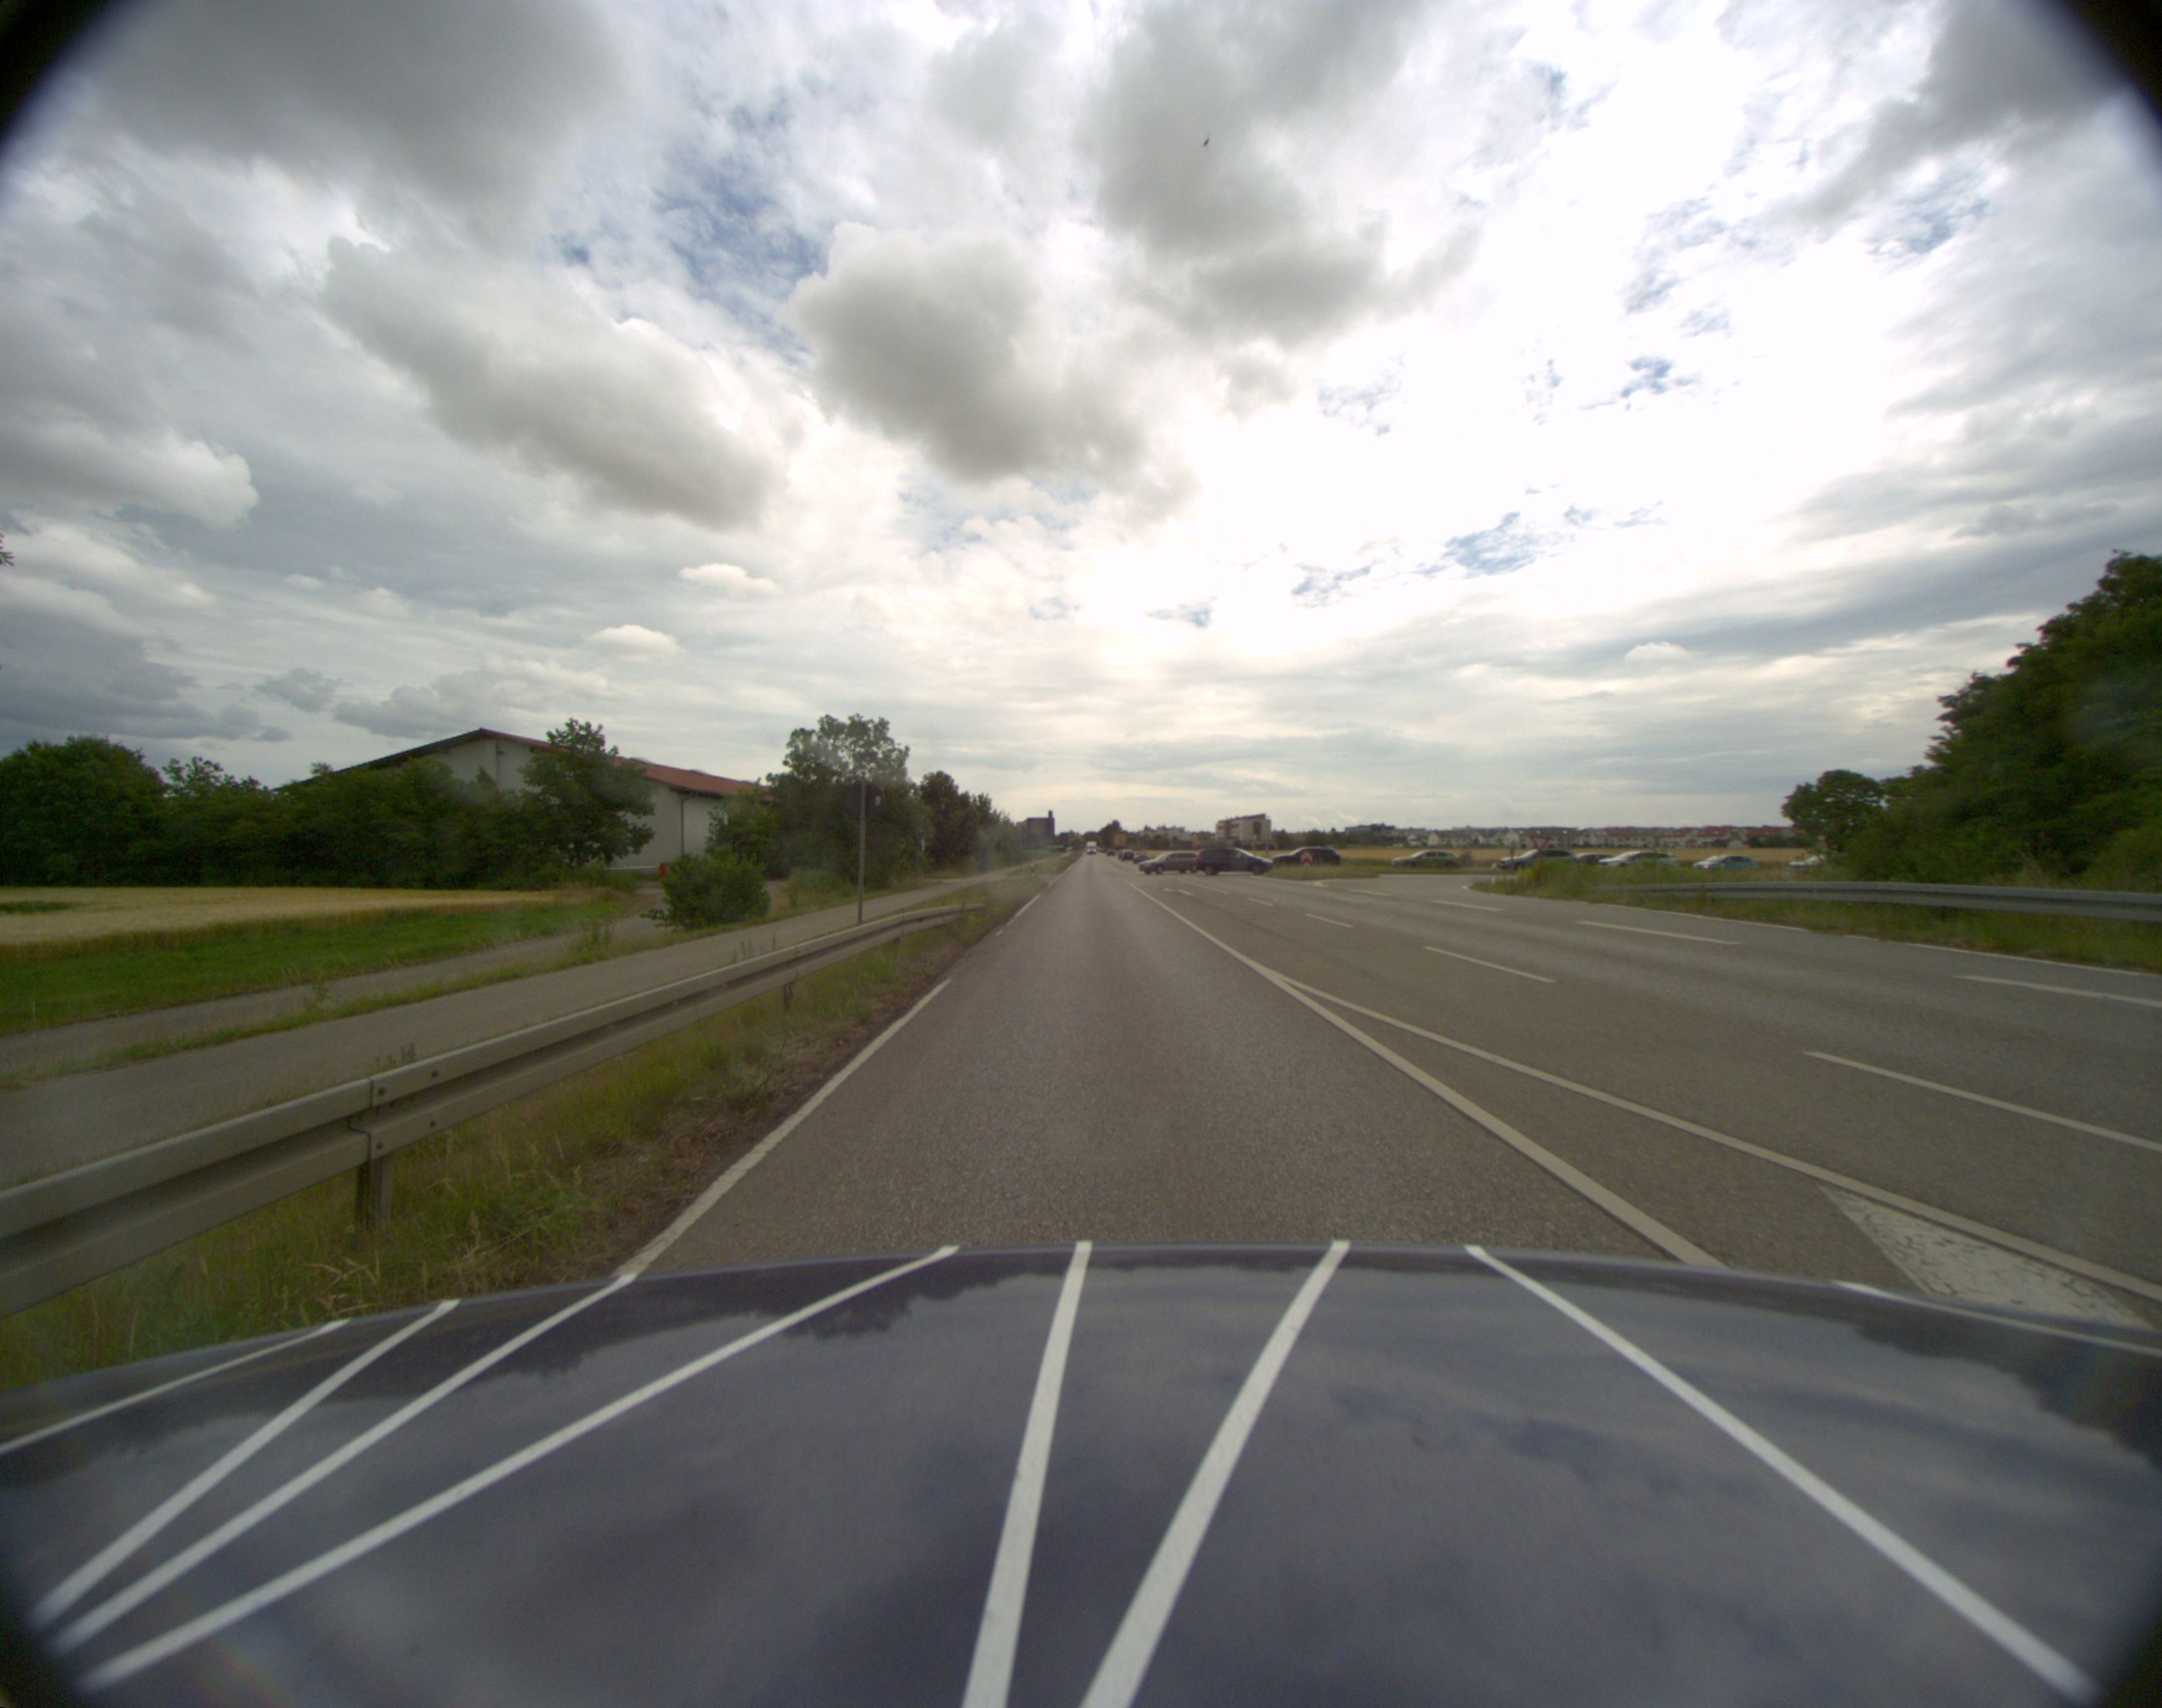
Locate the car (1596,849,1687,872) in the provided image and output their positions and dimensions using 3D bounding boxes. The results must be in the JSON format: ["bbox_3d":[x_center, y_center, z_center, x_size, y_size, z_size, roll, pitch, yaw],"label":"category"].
[{"bbox_3d":[37.162,0.411,50.487,4.500,1.474,1.912,0,1,7],"label":"car"}]

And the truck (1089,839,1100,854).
[{"bbox_3d":[3.440,-1.951,194.544,2.813,3.588,11.218,0,1,1],"label":"truck"}]

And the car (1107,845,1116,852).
[{"bbox_3d":[6.720,-1.251,167.232,1.683,1.512,4.395,-2,1,1],"label":"car"}]

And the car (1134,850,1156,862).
[{"bbox_3d":[7.488,0.228,89.249,2.170,1.277,4.236,-2,1,0],"label":"car"}]

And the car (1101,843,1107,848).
[{"bbox_3d":[7.181,-2.753,235.857,1.740,1.450,4.130,-1,1,-1],"label":"car"}]

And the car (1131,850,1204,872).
[{"bbox_3d":[5.777,0.448,50.773,4.468,1.416,1.908,-1,1,-17],"label":"car"}]

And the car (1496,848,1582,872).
[{"bbox_3d":[30.936,0.394,51.461,4.633,1.508,1.912,0,1,7],"label":"car"}]

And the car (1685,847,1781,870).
[{"bbox_3d":[42.999,0.298,50.174,4.500,1.474,1.912,0,1,7],"label":"car"}]

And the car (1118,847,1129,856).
[{"bbox_3d":[7.038,-0.411,125.510,1.665,1.475,3.168,-2,1,0],"label":"car"}]

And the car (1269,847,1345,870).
[{"bbox_3d":[15.591,0.289,52.621,4.749,1.523,1.912,0,1,7],"label":"car"}]

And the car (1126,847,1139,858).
[{"bbox_3d":[7.288,-0.213,108.152,1.746,1.521,4.199,-1,1,4],"label":"car"}]

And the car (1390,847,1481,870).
[{"bbox_3d":[24.233,0.317,52.128,5.295,1.512,1.912,0,1,7],"label":"car"}]

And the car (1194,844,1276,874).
[{"bbox_3d":[9.153,0.313,45.270,4.471,1.602,1.710,-2,1,23],"label":"car"}]

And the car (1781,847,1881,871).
[{"bbox_3d":[49.057,0.329,49.776,4.501,1.474,1.911,0,1,4],"label":"car"}]
